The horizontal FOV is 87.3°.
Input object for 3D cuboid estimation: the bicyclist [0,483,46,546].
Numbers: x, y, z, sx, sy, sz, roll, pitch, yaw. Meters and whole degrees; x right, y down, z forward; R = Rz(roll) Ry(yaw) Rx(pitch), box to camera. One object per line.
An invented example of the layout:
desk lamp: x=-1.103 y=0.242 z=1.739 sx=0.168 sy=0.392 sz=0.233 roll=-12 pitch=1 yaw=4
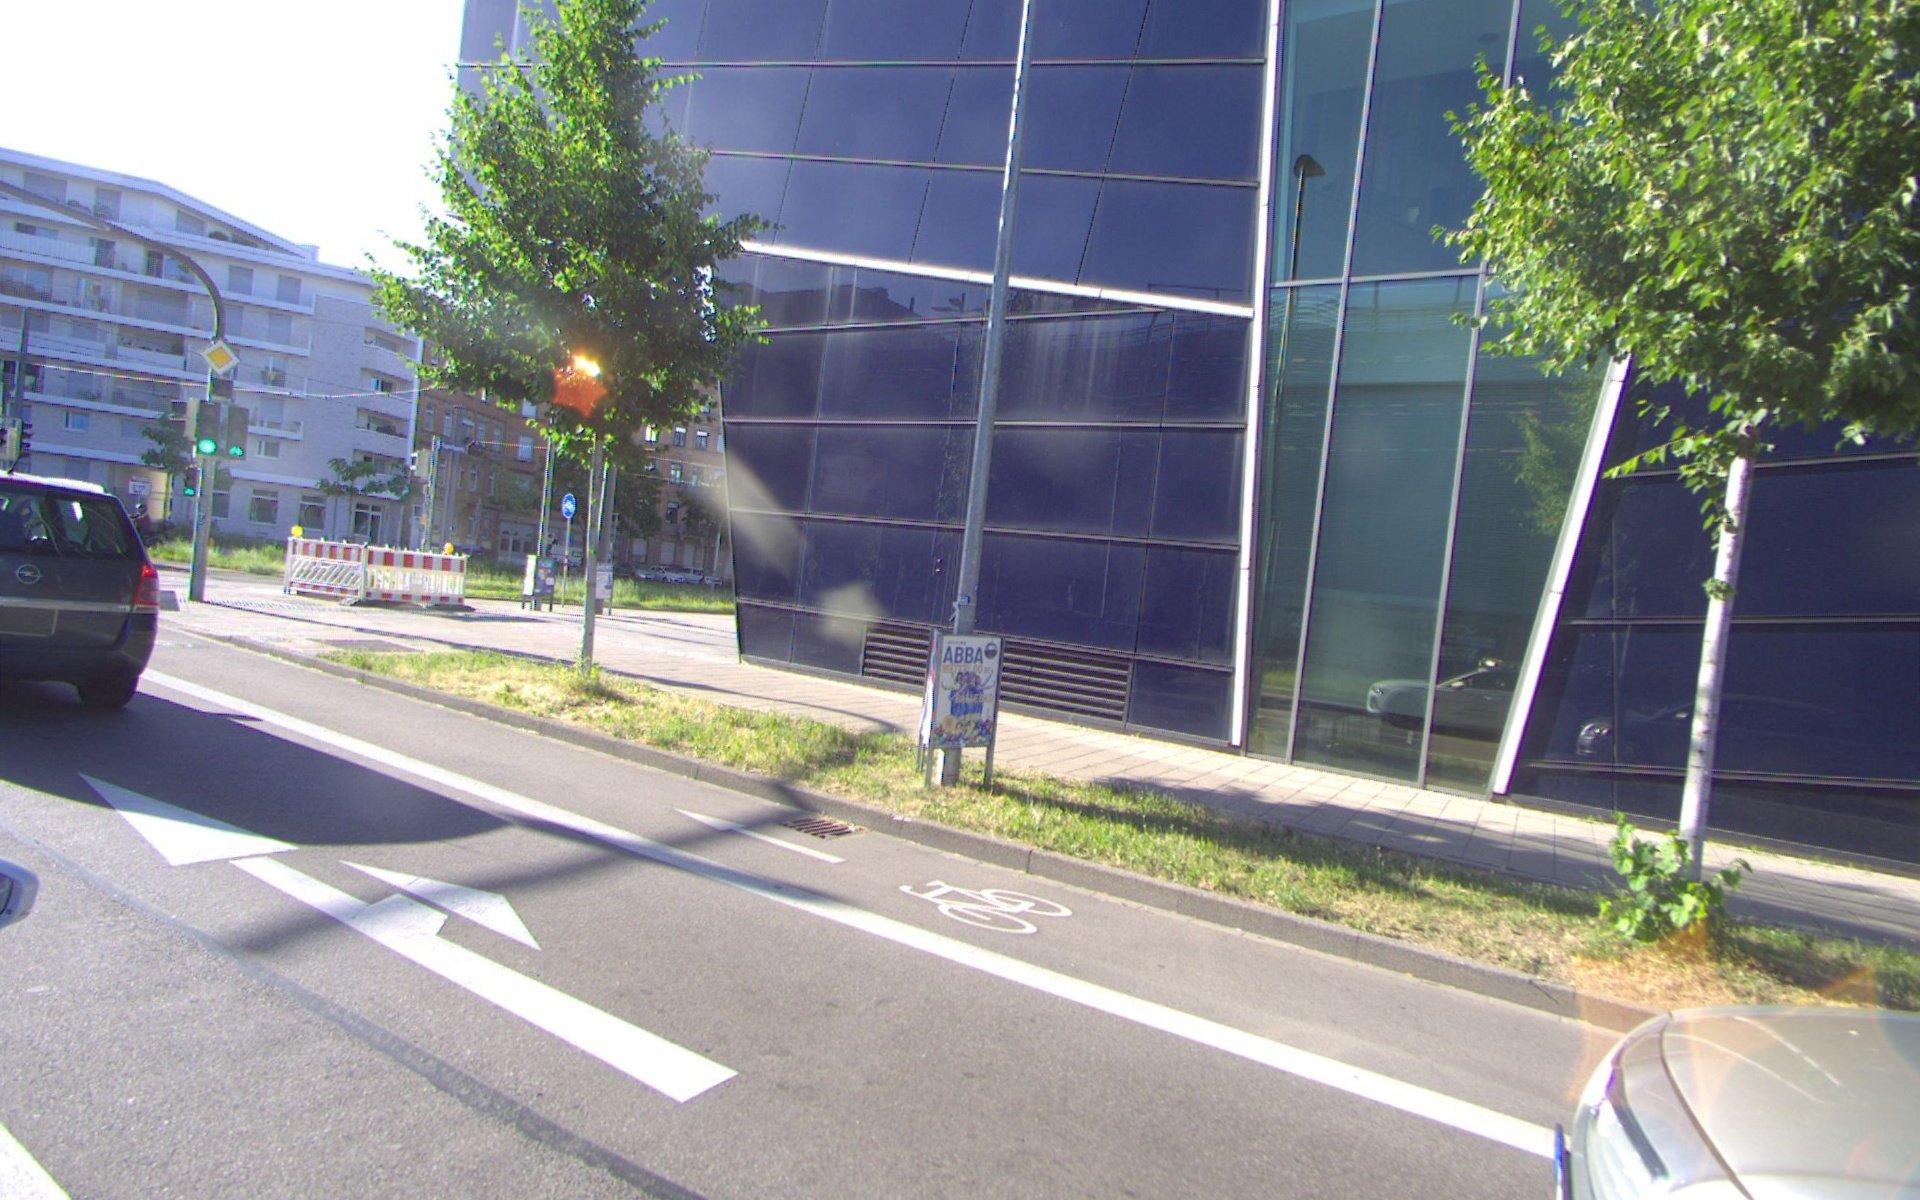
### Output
bicyclist: x=-27.820 y=-2.529 z=29.704 sx=0.912 sy=1.728 sz=0.768 roll=6 pitch=1 yaw=15

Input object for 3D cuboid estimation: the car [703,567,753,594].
car: x=-19.396 y=-1.639 z=84.081 sx=3.944 sy=1.794 sz=1.990 roll=6 pitch=1 yaw=41

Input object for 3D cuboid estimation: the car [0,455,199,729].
car: x=-7.736 y=-0.227 z=7.496 sx=4.190 sy=1.715 sz=1.749 roll=6 pitch=-2 yaw=32

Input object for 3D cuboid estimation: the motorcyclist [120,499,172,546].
motorcyclist: x=-29.261 y=-2.791 z=36.165 sx=1.151 sy=1.500 sz=0.927 roll=7 pitch=1 yaw=25

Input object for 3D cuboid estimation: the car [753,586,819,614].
car: x=-10.775 y=0.015 z=62.656 sx=1.740 sy=1.417 sz=4.248 roll=3 pitch=-2 yaw=28

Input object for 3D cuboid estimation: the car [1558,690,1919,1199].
car: x=3.218 y=1.147 z=0.864 sx=4.552 sy=1.500 sz=1.747 roll=6 pitch=0 yaw=32

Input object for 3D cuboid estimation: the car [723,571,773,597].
car: x=-18.260 y=-1.402 z=86.635 sx=3.940 sy=1.794 sz=1.992 roll=6 pitch=1 yaw=37

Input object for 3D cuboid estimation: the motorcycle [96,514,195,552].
motorcycle: x=-29.282 y=-2.397 z=36.216 sx=1.151 sy=1.013 sz=2.459 roll=7 pitch=0 yaw=25

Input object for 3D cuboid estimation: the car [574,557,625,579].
car: x=-28.083 y=-2.511 z=78.329 sx=3.944 sy=1.371 sz=1.990 roll=6 pitch=1 yaw=41

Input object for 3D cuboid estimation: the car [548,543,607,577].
car: x=-32.779 y=-3.383 z=86.319 sx=4.538 sy=2.339 sz=1.991 roll=7 pitch=0 yaw=-21

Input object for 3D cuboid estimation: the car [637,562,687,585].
car: x=-24.035 y=-2.157 z=81.002 sx=3.944 sy=1.505 sz=1.990 roll=6 pitch=1 yaw=41

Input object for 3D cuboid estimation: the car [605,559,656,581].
car: x=-26.123 y=-2.371 z=79.759 sx=3.944 sy=1.371 sz=1.990 roll=6 pitch=1 yaw=41

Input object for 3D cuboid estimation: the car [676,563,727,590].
car: x=-21.178 y=-1.927 z=82.383 sx=3.944 sy=1.794 sz=1.990 roll=6 pitch=1 yaw=41
